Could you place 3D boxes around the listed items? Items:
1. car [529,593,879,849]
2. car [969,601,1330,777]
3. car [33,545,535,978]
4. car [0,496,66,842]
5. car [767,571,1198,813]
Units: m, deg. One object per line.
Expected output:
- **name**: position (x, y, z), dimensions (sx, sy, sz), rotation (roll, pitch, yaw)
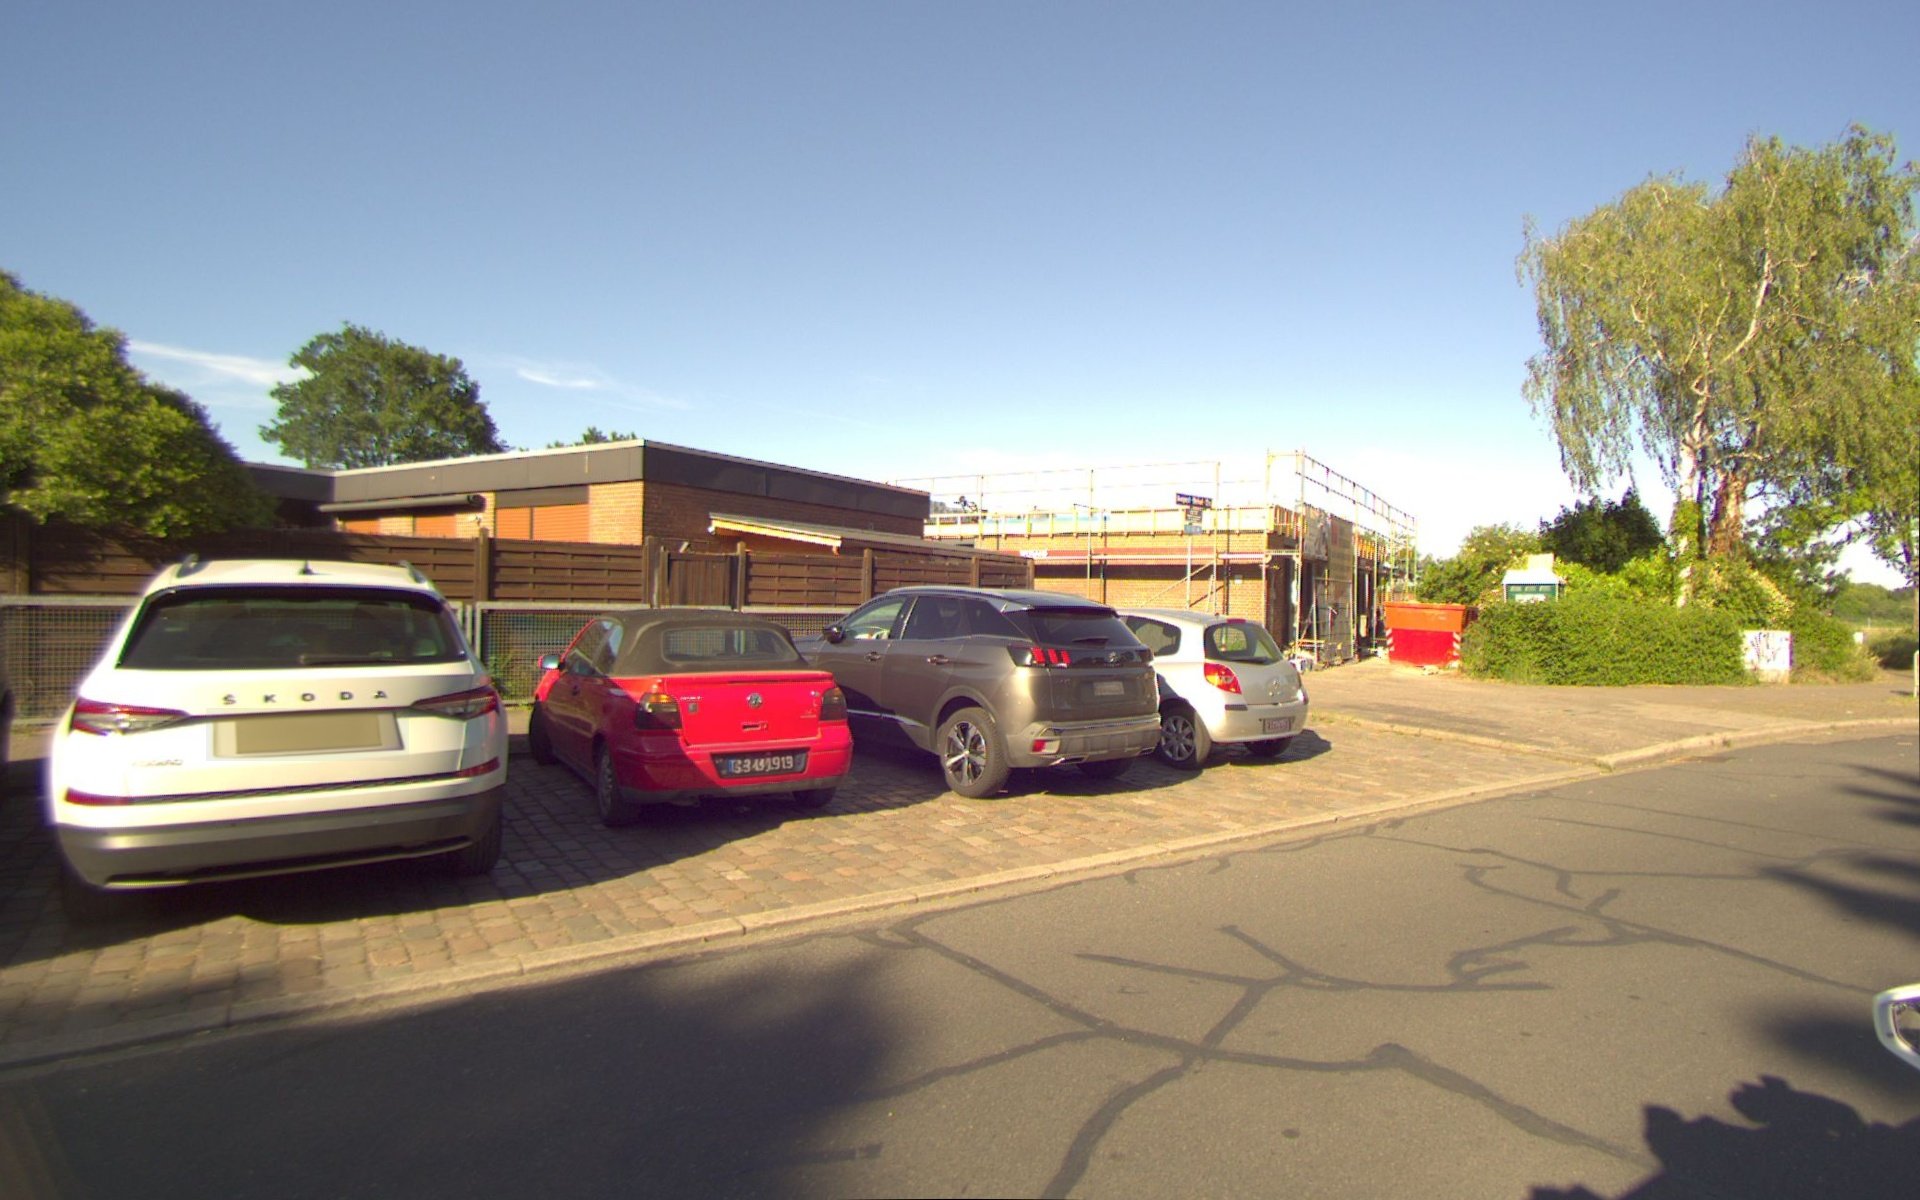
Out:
- **car**: position (-2.204, 0.721, 7.874), dimensions (1.713, 1.362, 3.594), rotation (2, 2, -30)
- **car**: position (1.907, 0.814, 10.941), dimensions (1.621, 1.478, 3.655), rotation (1, 1, -40)
- **car**: position (-3.623, 0.548, 5.752), dimensions (1.713, 1.628, 3.594), rotation (2, 2, -30)
- **car**: position (-5.963, 0.383, 4.739), dimensions (1.980, 1.941, 4.840), rotation (1, 0, -35)
- **car**: position (0.004, 0.638, 9.317), dimensions (1.804, 1.634, 3.953), rotation (1, 2, -40)
